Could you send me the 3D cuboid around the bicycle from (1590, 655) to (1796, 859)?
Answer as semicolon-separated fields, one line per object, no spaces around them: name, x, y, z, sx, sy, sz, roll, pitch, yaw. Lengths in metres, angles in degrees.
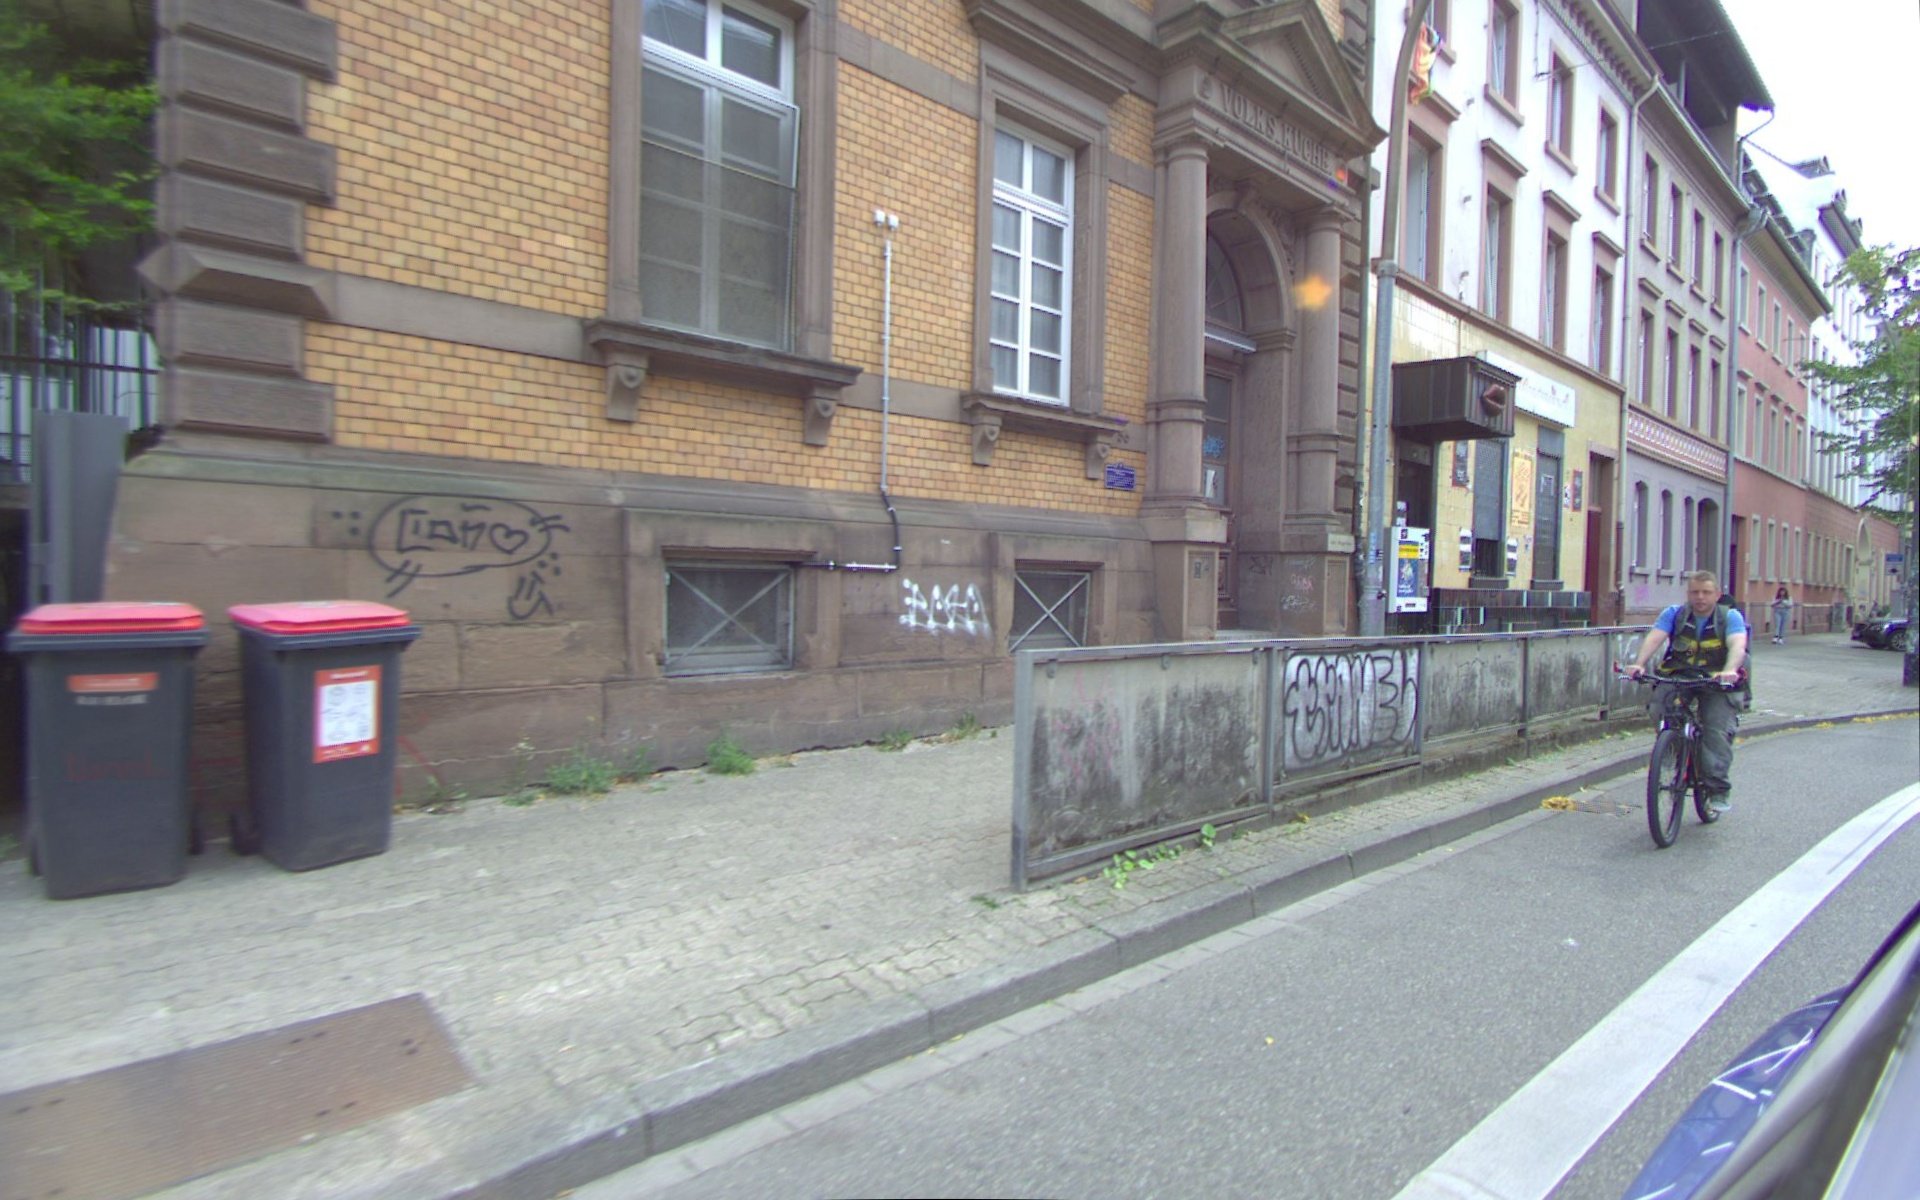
bicycle;4.714;0.916;6.464;1.769;1.031;0.713;0;0;-42

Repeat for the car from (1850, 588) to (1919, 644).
car;27.945;0.519;27.988;4.583;1.491;1.774;3;2;26

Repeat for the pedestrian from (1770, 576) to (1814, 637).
pedestrian;24.273;0.184;29.516;0.910;1.708;0.732;0;5;-41

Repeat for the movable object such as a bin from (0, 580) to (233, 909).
movable object such as a bin;-3.302;0.494;3.954;0.667;1.095;0.651;-1;5;-44

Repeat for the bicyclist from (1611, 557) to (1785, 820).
bicyclist;4.716;0.515;6.461;0.903;1.526;0.714;1;-1;-42

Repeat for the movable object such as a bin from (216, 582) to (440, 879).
movable object such as a bin;-2.726;0.498;4.358;0.689;1.095;0.664;-1;5;-44

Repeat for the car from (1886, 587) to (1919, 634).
car;37.759;0.485;37.858;4.198;1.719;1.724;3;2;26

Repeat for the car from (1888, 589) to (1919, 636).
car;33.203;0.505;32.711;4.303;1.498;1.774;3;2;26
